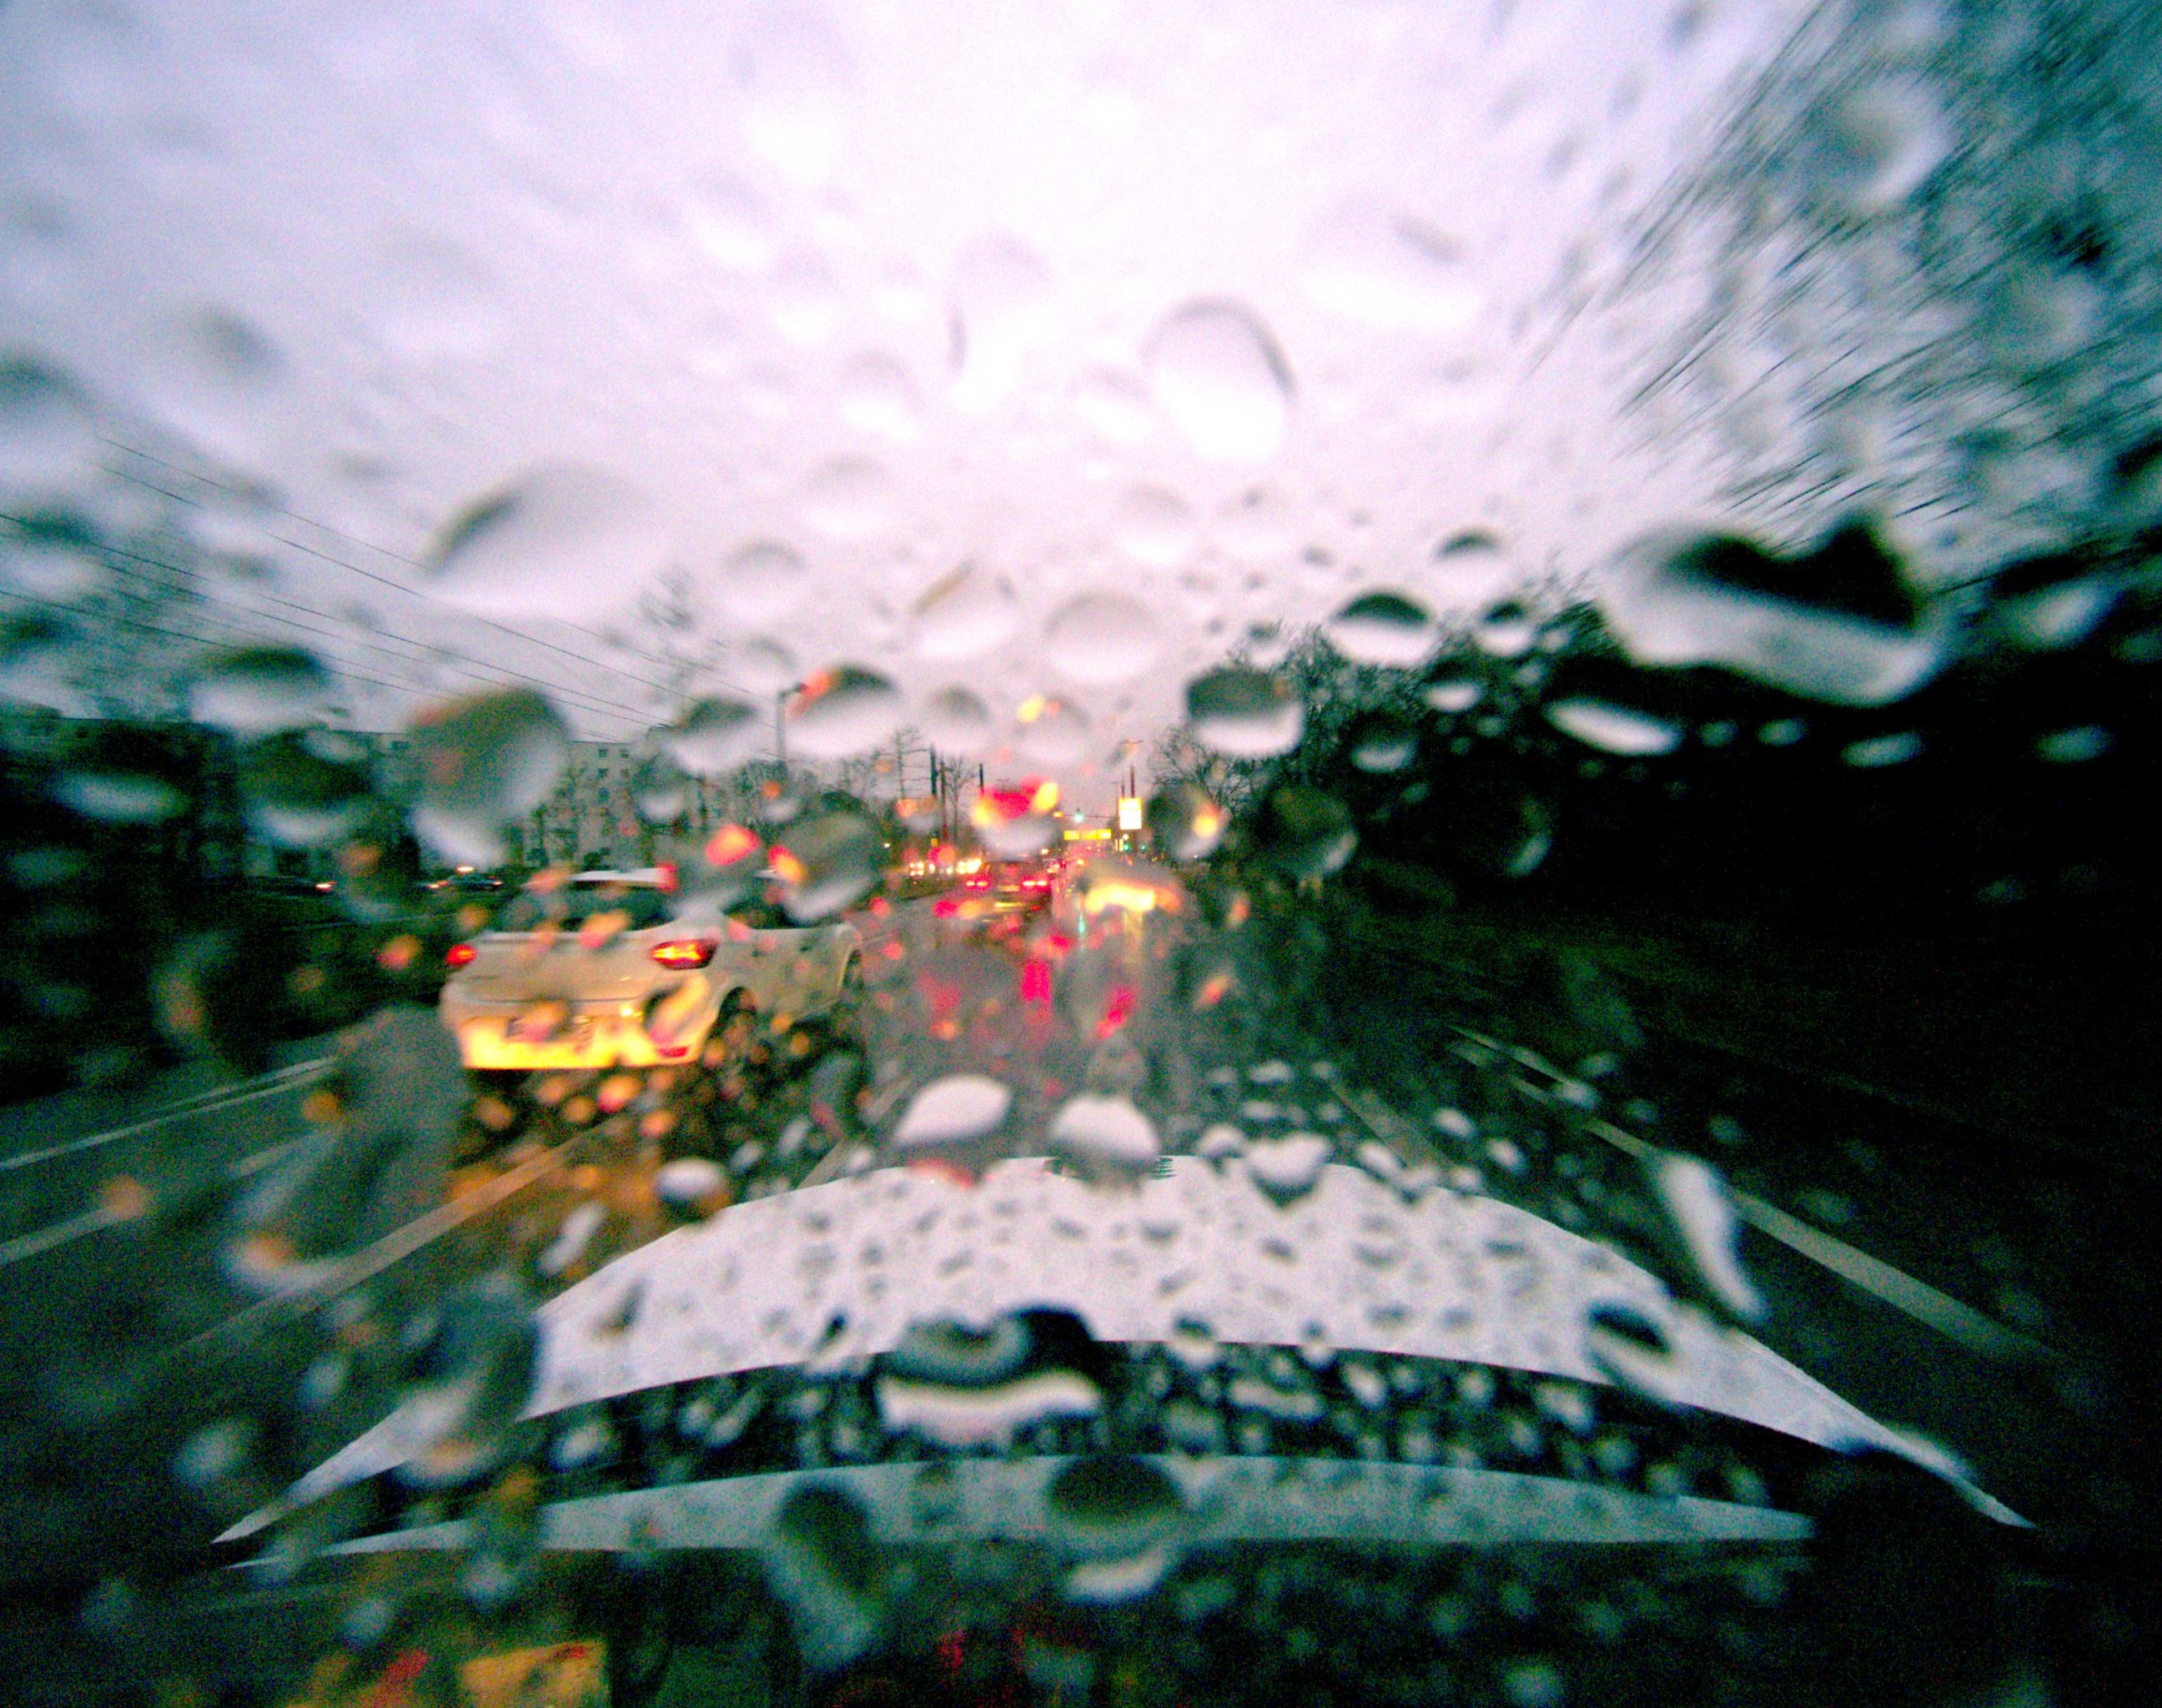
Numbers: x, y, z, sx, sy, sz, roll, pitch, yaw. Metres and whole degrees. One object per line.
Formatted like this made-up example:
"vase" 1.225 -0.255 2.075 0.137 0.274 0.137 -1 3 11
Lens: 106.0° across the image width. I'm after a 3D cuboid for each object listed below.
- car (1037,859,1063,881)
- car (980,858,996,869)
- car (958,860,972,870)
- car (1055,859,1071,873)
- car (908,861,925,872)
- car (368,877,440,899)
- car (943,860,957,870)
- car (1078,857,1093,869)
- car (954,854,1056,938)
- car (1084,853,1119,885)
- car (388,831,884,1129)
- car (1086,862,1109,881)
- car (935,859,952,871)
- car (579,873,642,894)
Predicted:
"car" -2.471 1.250 66.309 1.816 1.648 4.001 -2 0 1
"car" -13.748 1.364 120.310 1.851 1.581 4.078 -2 0 -1
"car" -17.123 1.598 120.446 1.647 1.420 3.325 -2 0 0
"car" -1.911 1.267 86.277 1.500 1.339 4.001 -2 0 1
"car" -24.103 1.792 119.540 1.613 1.495 4.017 -2 0 1
"car" -53.587 2.689 64.549 4.009 1.544 1.698 -2 0 -27
"car" -20.235 1.683 125.841 1.616 1.427 3.909 -2 0 0
"car" 0.582 1.152 103.048 1.816 1.504 4.001 -2 0 1
"car" -1.605 0.863 18.706 1.816 1.648 4.467 -2 0 1
"car" 1.156 0.797 45.881 1.816 1.648 4.467 -2 0 1
"car" -3.036 0.725 6.713 1.708 1.648 4.147 -2 0 1
"car" 1.488 1.571 74.106 1.987 1.662 4.000 0 -1 1
"car" -20.073 1.590 118.810 1.764 1.553 3.945 -2 0 -1
"car" -39.622 2.469 68.653 4.450 1.544 1.835 -2 0 -27
